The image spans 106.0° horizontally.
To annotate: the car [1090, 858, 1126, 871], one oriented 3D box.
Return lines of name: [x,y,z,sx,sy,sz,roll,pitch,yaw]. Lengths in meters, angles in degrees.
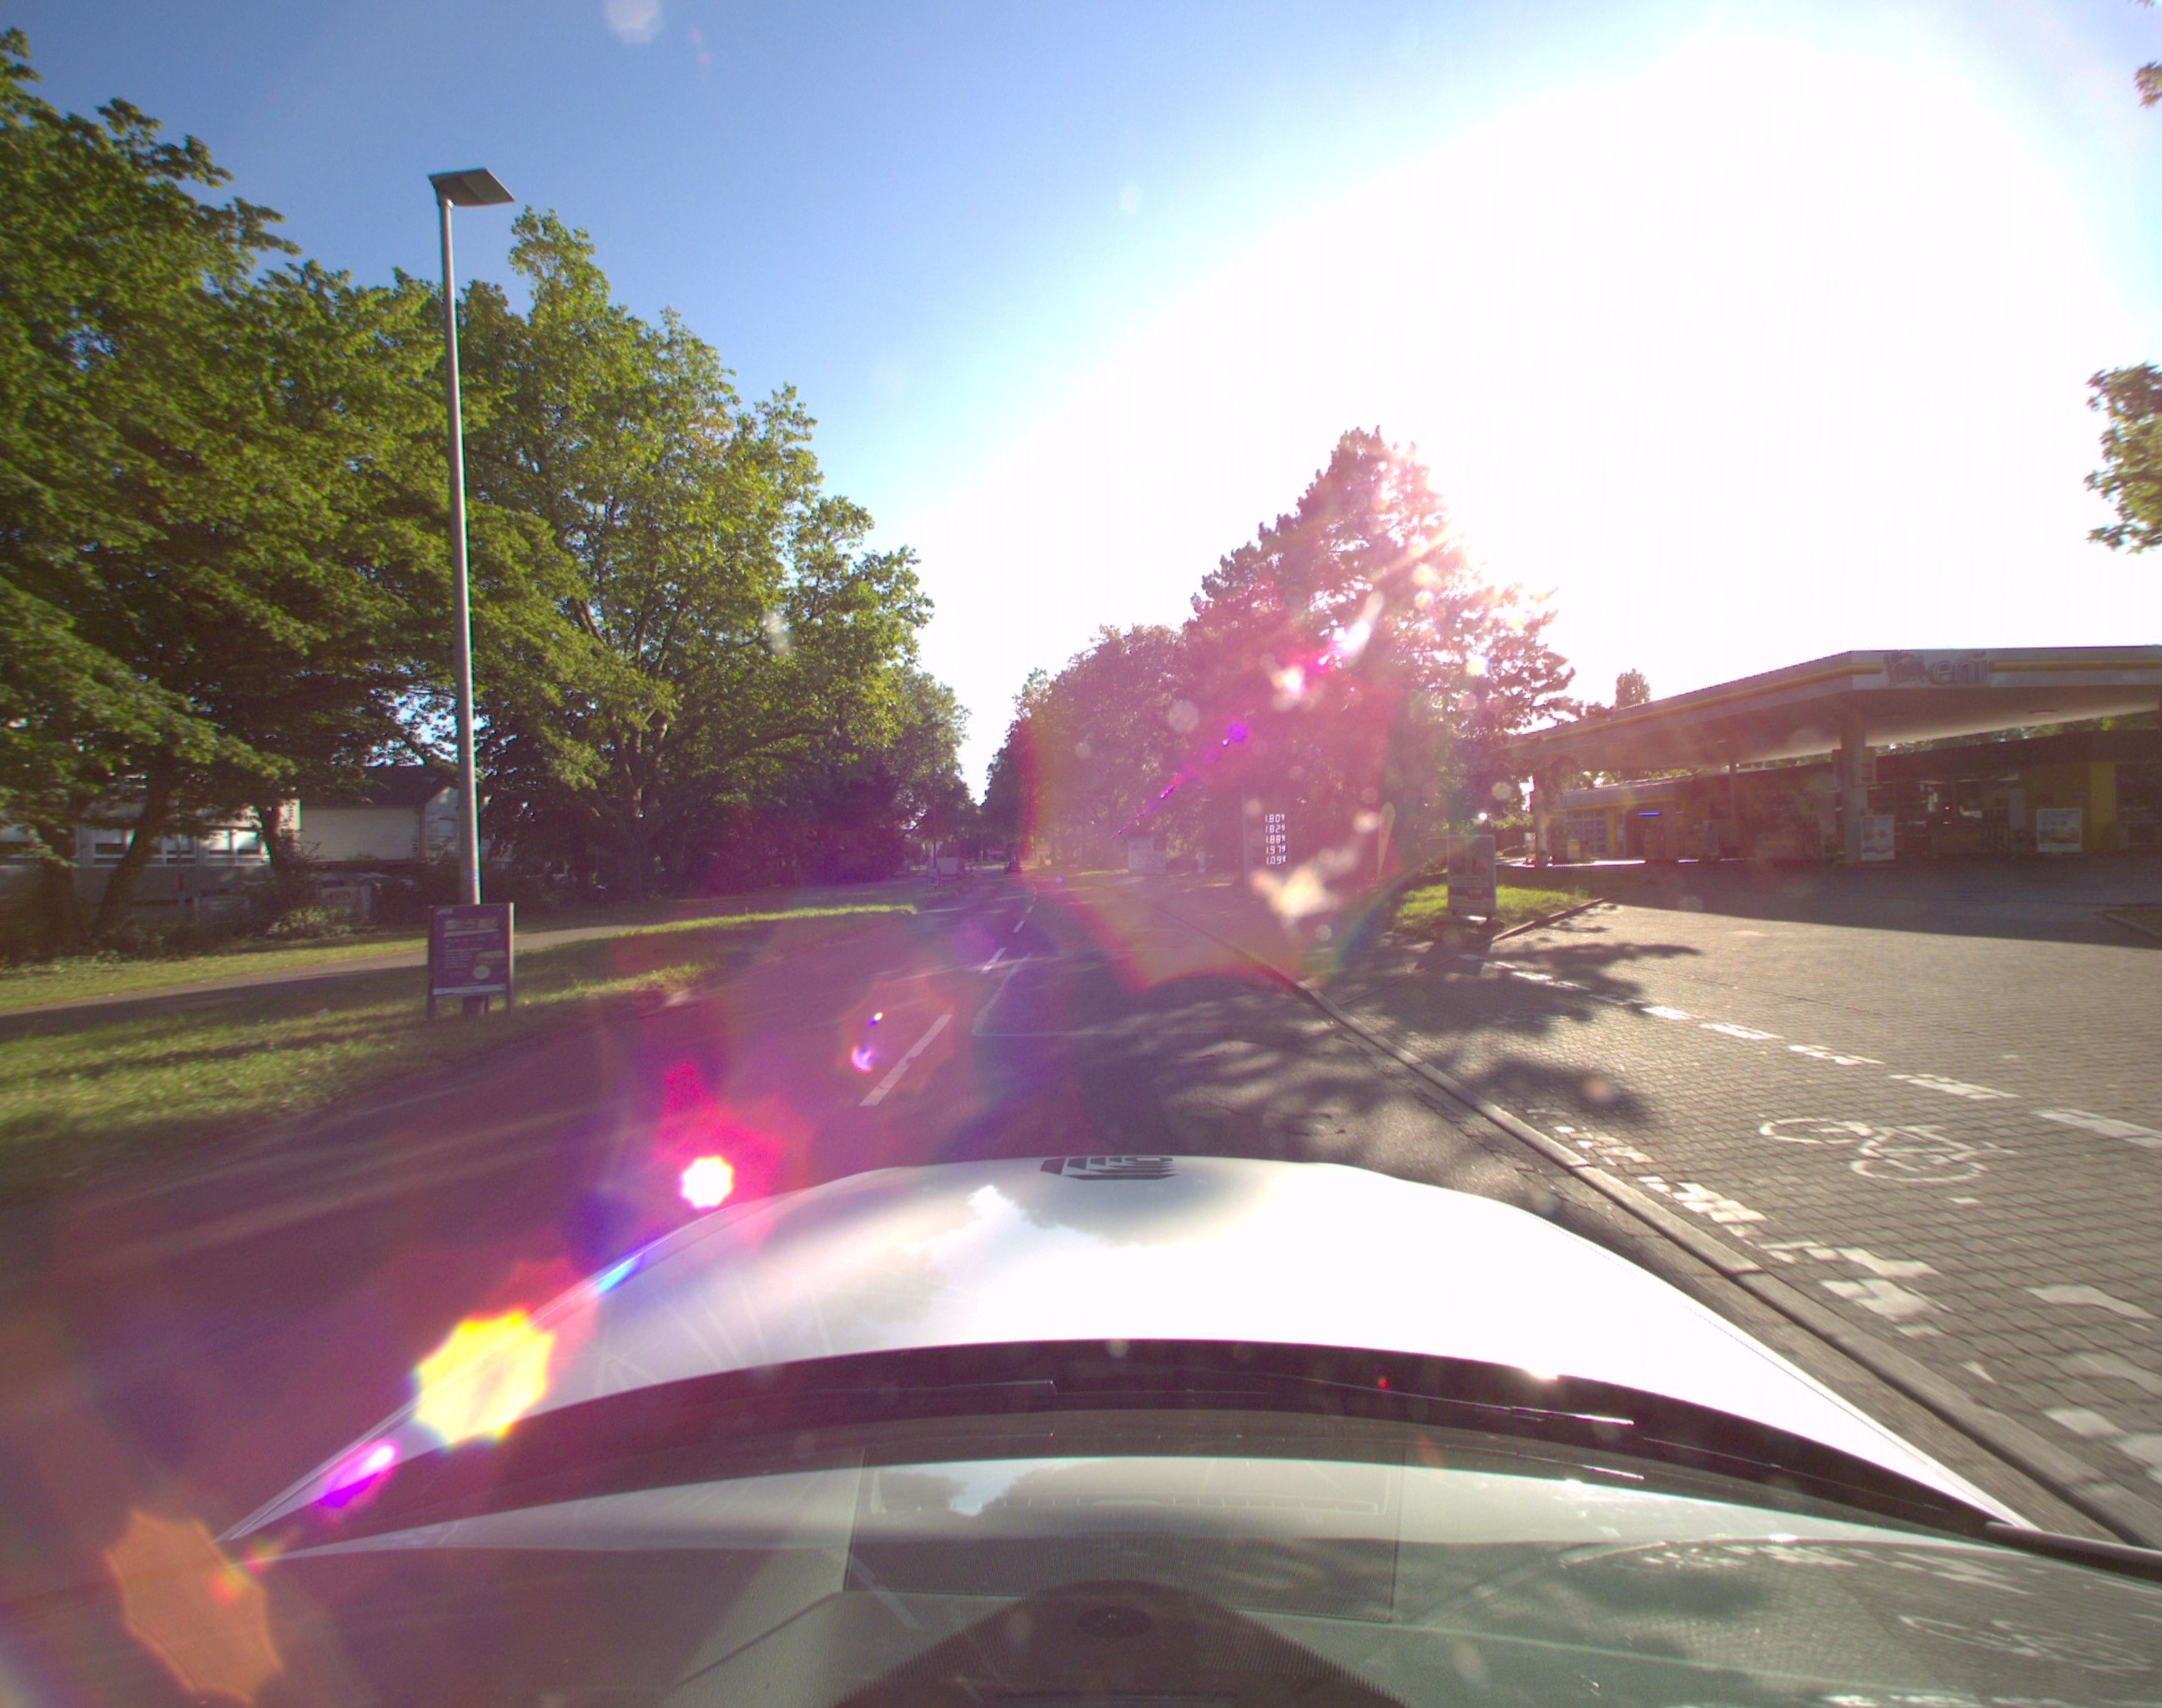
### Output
car: [3.135,1.236,96.320,3.983,1.443,1.756,-3,0,-7]

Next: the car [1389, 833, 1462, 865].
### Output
car: [16.557,-0.219,39.345,1.835,1.420,4.000,-2,0,0]

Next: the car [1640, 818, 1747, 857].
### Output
car: [29.755,-0.744,39.755,1.808,1.728,4.395,-2,0,-2]

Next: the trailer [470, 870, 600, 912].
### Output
trailer: [-22.860,1.522,34.223,3.980,1.555,1.997,-2,0,-5]

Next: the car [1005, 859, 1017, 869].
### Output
car: [-15.993,2.316,186.630,1.983,2.013,4.008,-2,0,7]

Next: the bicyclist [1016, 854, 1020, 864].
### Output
bicyclist: [-10.776,0.879,139.481,0.650,1.705,0.869,0,-1,-9]

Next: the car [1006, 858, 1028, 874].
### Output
car: [-7.331,1.357,93.165,1.831,1.605,3.868,-2,0,5]
